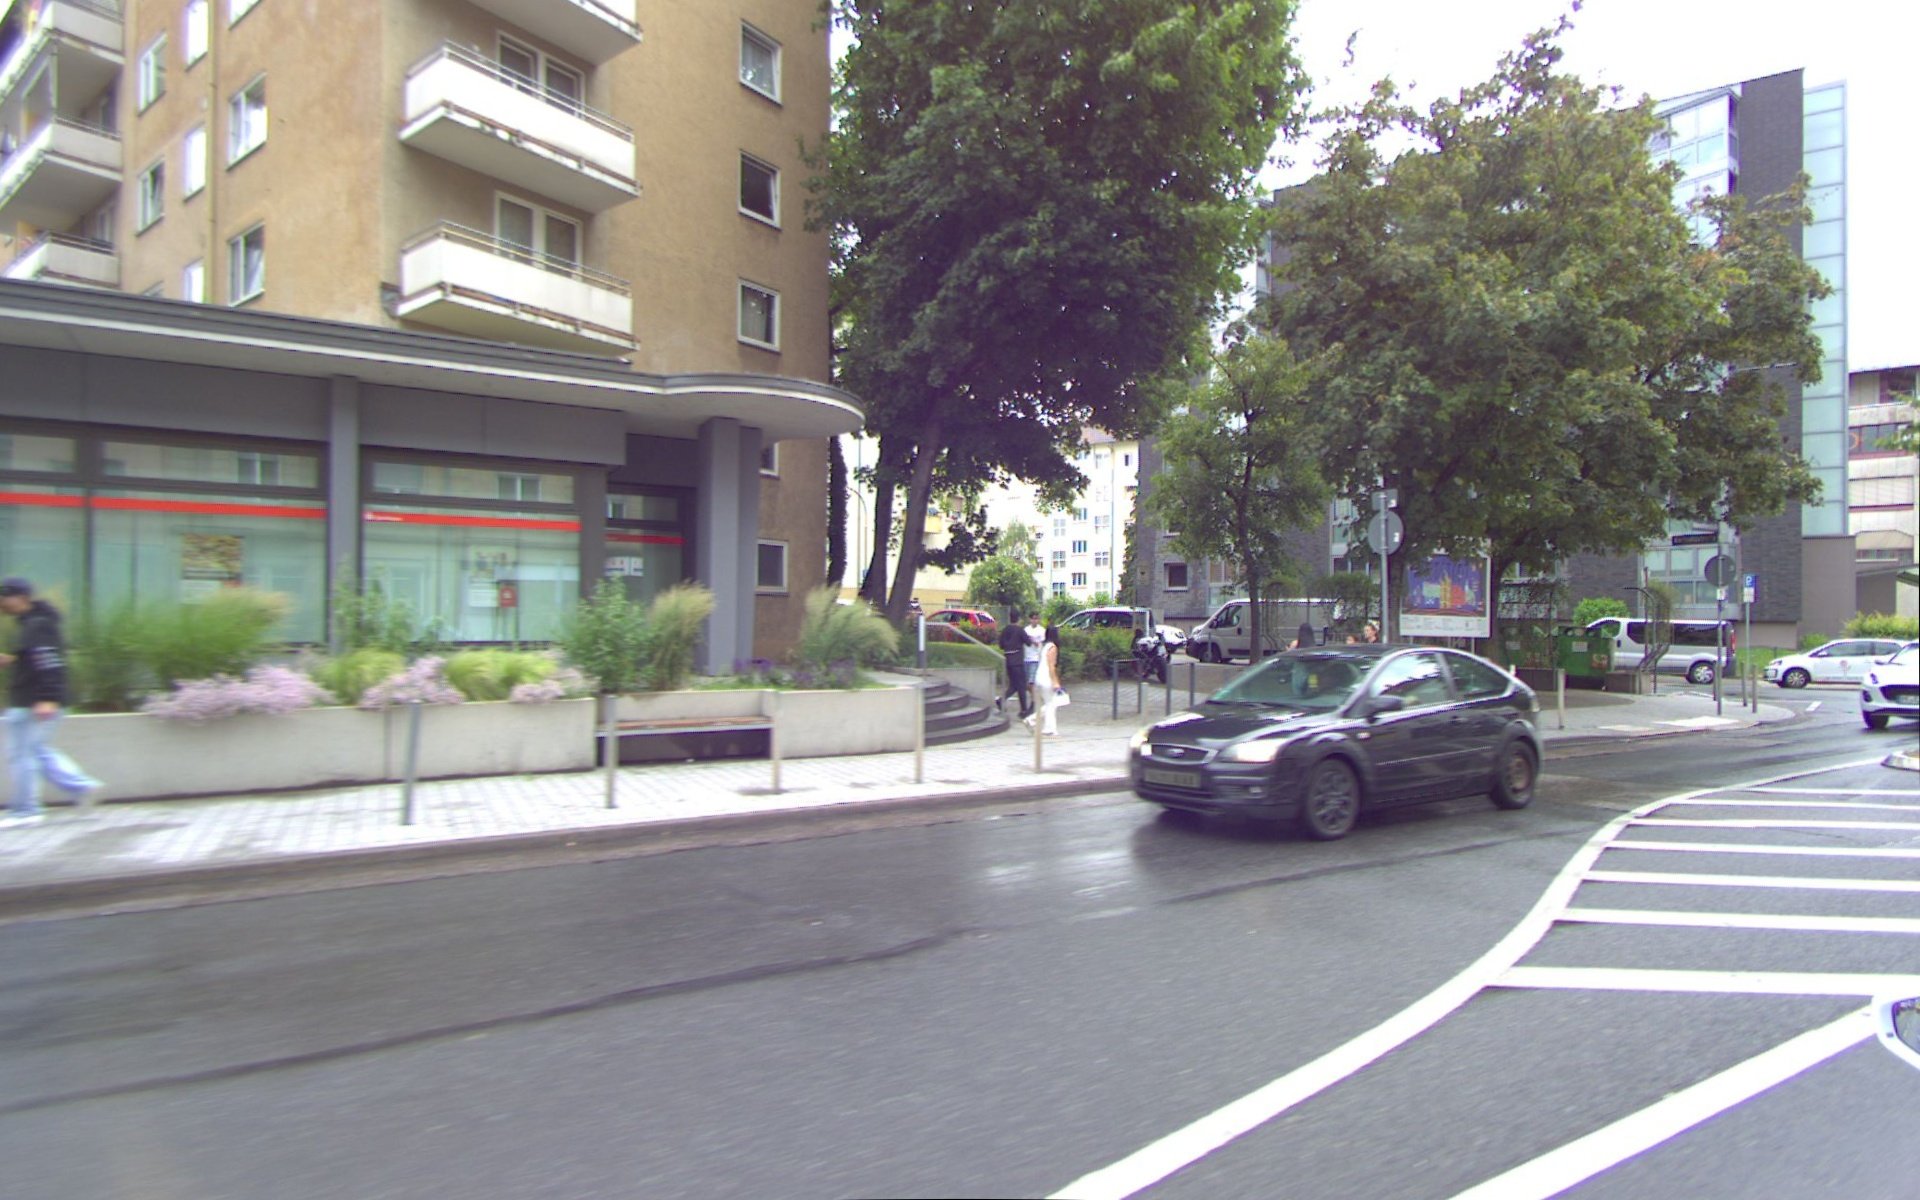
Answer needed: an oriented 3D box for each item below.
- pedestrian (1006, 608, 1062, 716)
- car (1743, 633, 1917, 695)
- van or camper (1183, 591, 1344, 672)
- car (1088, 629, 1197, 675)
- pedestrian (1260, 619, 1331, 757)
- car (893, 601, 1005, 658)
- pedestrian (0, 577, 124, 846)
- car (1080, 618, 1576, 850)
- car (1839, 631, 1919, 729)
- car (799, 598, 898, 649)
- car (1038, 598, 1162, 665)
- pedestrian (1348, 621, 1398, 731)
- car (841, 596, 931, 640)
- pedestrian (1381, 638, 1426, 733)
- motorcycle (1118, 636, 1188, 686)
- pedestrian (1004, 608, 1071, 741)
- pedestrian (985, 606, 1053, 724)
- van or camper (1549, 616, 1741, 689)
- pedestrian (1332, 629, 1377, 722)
[{"bbox_3d":[1.303,1.062,17.696,0.711,1.850,0.720,1,0,32],"label":"pedestrian"},{"bbox_3d":[25.539,1.831,29.641,3.522,1.590,1.739,1,0,27],"label":"car"},{"bbox_3d":[9.796,0.948,32.507,4.536,2.297,2.207,2,1,31],"label":"van or camper"},{"bbox_3d":[7.454,2.070,41.067,3.933,1.751,1.994,0,-1,34],"label":"car"},{"bbox_3d":[4.768,1.212,14.248,0.712,1.850,0.851,1,0,37],"label":"pedestrian"},{"bbox_3d":[-0.461,1.144,39.582,3.930,2.040,1.995,2,0,32],"label":"car"},{"bbox_3d":[-6.689,0.768,7.388,0.712,1.850,0.718,1,0,41],"label":"pedestrian"},{"bbox_3d":[3.306,1.014,8.842,4.197,1.577,1.945,1,-4,-33],"label":"car"},{"bbox_3d":[17.231,1.331,17.494,4.044,1.589,1.810,1,-2,-32],"label":"car"},{"bbox_3d":[-4.722,1.002,42.336,3.939,2.040,1.991,-1,-1,39],"label":"car"},{"bbox_3d":[4.988,1.099,35.839,3.931,2.285,1.995,-1,-1,32],"label":"car"},{"bbox_3d":[6.523,1.188,15.879,0.547,1.695,0.494,1,0,-34],"label":"pedestrian"},{"bbox_3d":[-3.557,0.860,48.027,3.933,2.040,1.994,0,-1,34],"label":"car"},{"bbox_3d":[6.827,1.301,15.471,0.476,1.429,0.430,1,0,-34],"label":"pedestrian"},{"bbox_3d":[4.551,1.422,23.843,0.783,1.001,2.052,1,2,-15],"label":"motorcycle"},{"bbox_3d":[1.086,1.011,14.012,0.646,1.782,0.718,0,-1,36],"label":"pedestrian"},{"bbox_3d":[0.966,1.032,16.398,0.848,1.869,0.692,0,-1,36],"label":"pedestrian"},{"bbox_3d":[21.589,1.590,31.945,4.880,2.040,1.996,1,0,31],"label":"van or camper"},{"bbox_3d":[6.447,1.220,16.435,0.525,1.493,0.457,1,0,-34],"label":"pedestrian"}]
